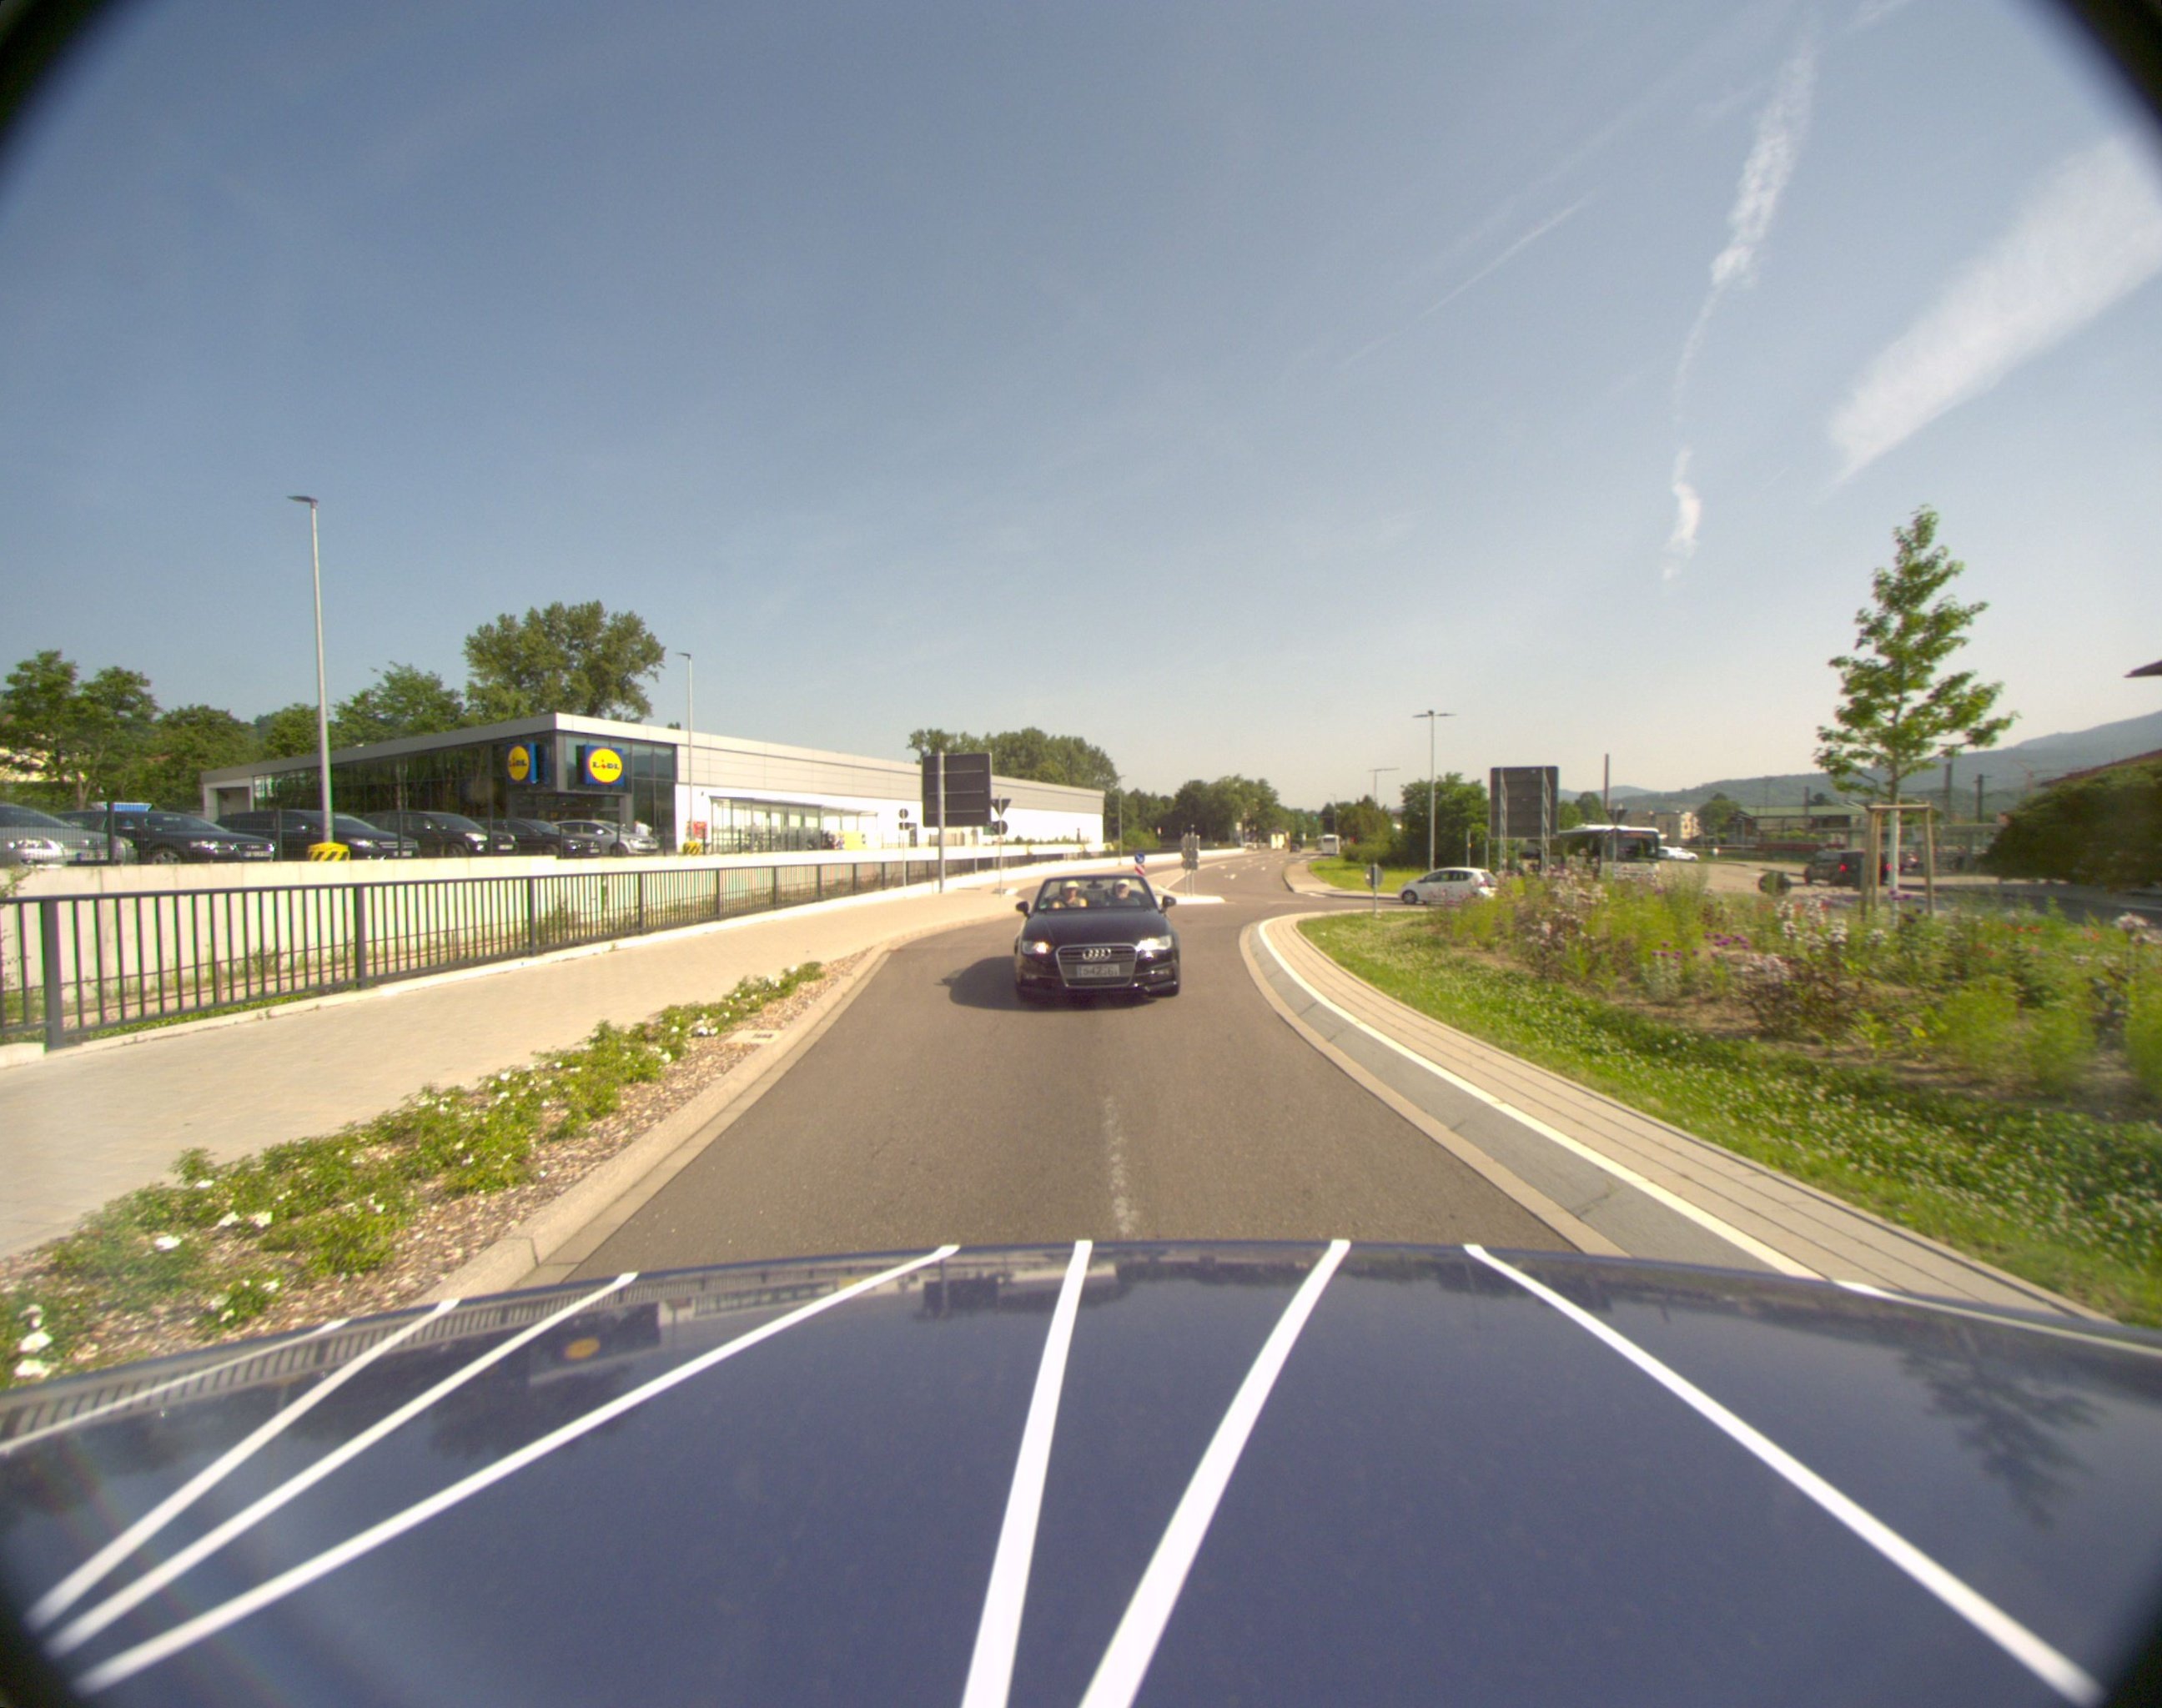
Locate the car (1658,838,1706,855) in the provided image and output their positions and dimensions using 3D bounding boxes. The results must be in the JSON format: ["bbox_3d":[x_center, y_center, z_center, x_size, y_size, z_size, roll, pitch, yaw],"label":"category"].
[{"bbox_3d":[69.268,-0.831,87.615,3.995,1.717,1.839,-3,1,8],"label":"car"}]

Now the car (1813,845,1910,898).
[{"bbox_3d":[33.503,0.710,32.770,1.973,1.953,5.167,-2,1,35],"label":"car"}]

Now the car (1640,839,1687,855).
[{"bbox_3d":[69.789,-0.829,91.081,3.995,1.717,1.839,-3,1,8],"label":"car"}]

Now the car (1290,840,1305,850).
[{"bbox_3d":[38.210,-1.599,133.952,1.884,1.783,4.002,-3,1,8],"label":"car"}]

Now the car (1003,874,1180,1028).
[{"bbox_3d":[0.080,1.014,9.579,1.721,1.315,4.223,-1,1,-1],"label":"car"}]

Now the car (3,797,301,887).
[{"bbox_3d":[-18.876,-0.238,15.567,3.996,1.565,1.704,-3,1,2],"label":"car"}]

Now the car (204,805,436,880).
[{"bbox_3d":[-18.736,-0.278,18.822,3.996,1.565,1.704,-3,1,2],"label":"car"}]

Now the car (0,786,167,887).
[{"bbox_3d":[-18.887,-0.212,13.011,4.412,1.565,1.704,-3,1,2],"label":"car"}]

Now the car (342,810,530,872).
[{"bbox_3d":[-18.719,-0.372,22.172,3.996,1.565,1.704,-3,1,2],"label":"car"}]

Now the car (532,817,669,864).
[{"bbox_3d":[-18.474,-0.507,29.335,4.128,1.565,1.704,-3,1,2],"label":"car"}]

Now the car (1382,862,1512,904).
[{"bbox_3d":[13.662,1.078,28.530,1.785,1.390,3.989,-4,1,-43],"label":"car"}]

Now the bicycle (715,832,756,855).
[{"bbox_3d":[-16.604,-0.519,36.576,0.625,1.087,1.881,-2,1,19],"label":"bicycle"}]

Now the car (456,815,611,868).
[{"bbox_3d":[-18.564,-0.417,25.871,3.996,1.565,1.704,-3,1,2],"label":"car"}]

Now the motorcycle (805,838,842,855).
[{"bbox_3d":[-14.518,-0.427,42.841,1.879,0.859,0.626,-3,1,-16],"label":"motorcycle"}]

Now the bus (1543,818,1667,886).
[{"bbox_3d":[29.353,-0.215,43.208,2.583,3.310,10.600,-2,1,17],"label":"bus"}]

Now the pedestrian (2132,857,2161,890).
[{"bbox_3d":[38.979,0.702,27.757,0.511,1.156,0.507,-2,1,27],"label":"pedestrian"}]

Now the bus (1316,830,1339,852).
[{"bbox_3d":[36.674,-1.968,112.672,2.863,3.174,9.129,-1,1,20],"label":"bus"}]

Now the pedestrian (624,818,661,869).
[{"bbox_3d":[-17.750,-0.425,30.748,0.831,2.002,0.864,-2,1,17],"label":"pedestrian"}]

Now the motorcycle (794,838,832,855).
[{"bbox_3d":[-14.718,-0.406,41.749,1.879,0.859,0.626,-3,1,-16],"label":"motorcycle"}]
